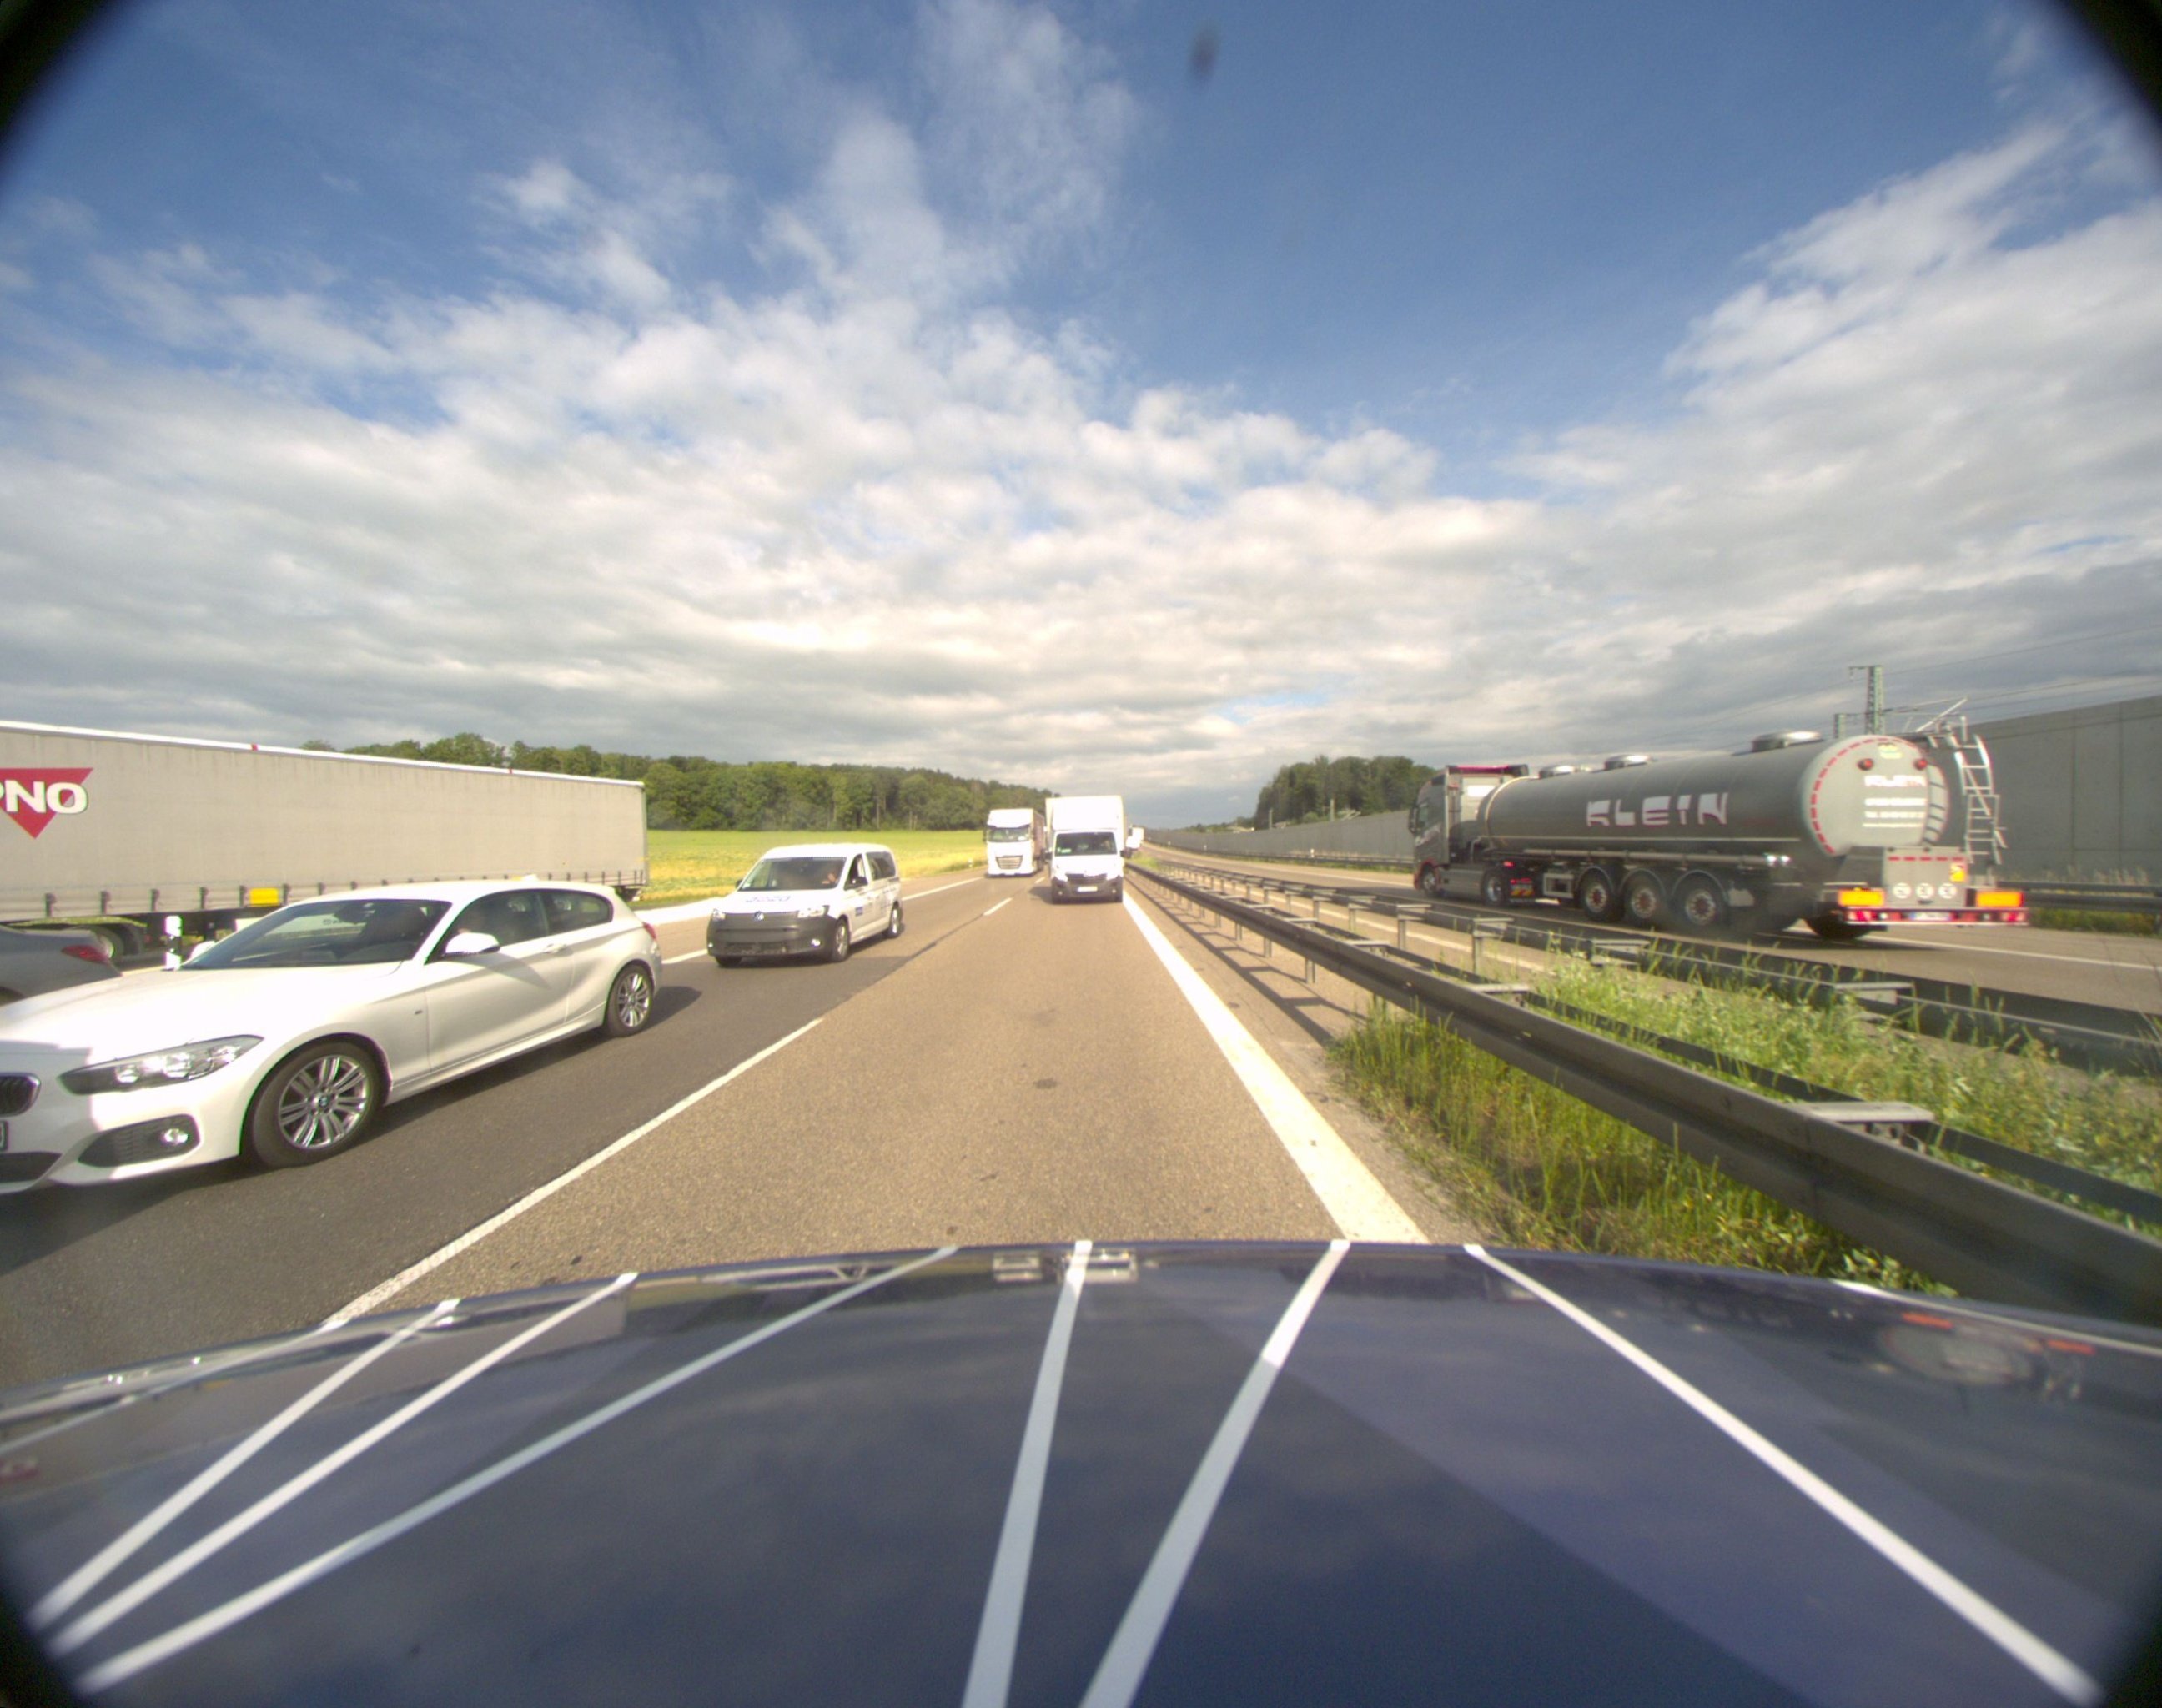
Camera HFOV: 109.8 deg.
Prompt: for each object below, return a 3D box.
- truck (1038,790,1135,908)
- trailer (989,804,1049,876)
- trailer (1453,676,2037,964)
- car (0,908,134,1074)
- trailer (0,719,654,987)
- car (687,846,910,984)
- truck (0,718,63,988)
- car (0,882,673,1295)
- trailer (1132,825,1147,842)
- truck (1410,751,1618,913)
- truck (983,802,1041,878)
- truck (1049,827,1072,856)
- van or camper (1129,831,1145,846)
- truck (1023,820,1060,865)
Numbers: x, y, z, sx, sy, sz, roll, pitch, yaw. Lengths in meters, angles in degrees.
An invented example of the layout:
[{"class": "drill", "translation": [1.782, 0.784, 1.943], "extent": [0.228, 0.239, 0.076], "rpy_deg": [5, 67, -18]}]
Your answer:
[{"class": "truck", "translation": [0.187, -0.194, 26.508], "extent": [2.500, 3.082, 12.037], "rpy_deg": [-2, 1, 0]}, {"class": "trailer", "translation": [-3.959, -1.002, 52.026], "extent": [2.742, 4.137, 14.015], "rpy_deg": [-2, 1, 0]}, {"class": "trailer", "translation": [11.607, -0.513, 15.696], "extent": [2.594, 3.879, 10.863], "rpy_deg": [0, 1, 0]}, {"class": "car", "translation": [-10.445, 1.261, 5.443], "extent": [1.705, 1.345, 4.188], "rpy_deg": [-2, 1, 18]}, {"class": "trailer", "translation": [-16.512, -0.063, 17.269], "extent": [2.739, 4.136, 13.843], "rpy_deg": [-2, 0, 16]}, {"class": "car", "translation": [-4.275, 0.791, 12.410], "extent": [1.729, 1.746, 4.702], "rpy_deg": [-3, 1, 1]}, {"class": "truck", "translation": [-18.443, 0.052, 10.283], "extent": [2.717, 4.149, 4.765], "rpy_deg": [-2, 1, 15]}, {"class": "car", "translation": [-4.791, 1.034, 5.117], "extent": [1.708, 1.424, 4.231], "rpy_deg": [-2, 1, 1]}, {"class": "trailer", "translation": [14.940, -5.238, 193.749], "extent": [2.797, 4.054, 13.518], "rpy_deg": [0, 1, 0]}, {"class": "truck", "translation": [11.671, -0.548, 21.189], "extent": [2.589, 3.900, 5.721], "rpy_deg": [0, 1, 1]}, {"class": "truck", "translation": [-3.995, -0.861, 45.490], "extent": [2.736, 4.150, 5.766], "rpy_deg": [-2, 1, 1]}, {"class": "truck", "translation": [-3.055, -1.834, 116.338], "extent": [2.946, 4.094, 16.206], "rpy_deg": [-1, 1, 0]}, {"class": "van or camper", "translation": [10.128, -2.816, 138.011], "extent": [2.258, 2.688, 7.169], "rpy_deg": [-1, 1, 0]}, {"class": "truck", "translation": [-3.864, -1.154, 77.438], "extent": [2.946, 4.094, 12.523], "rpy_deg": [-1, 1, 0]}]
